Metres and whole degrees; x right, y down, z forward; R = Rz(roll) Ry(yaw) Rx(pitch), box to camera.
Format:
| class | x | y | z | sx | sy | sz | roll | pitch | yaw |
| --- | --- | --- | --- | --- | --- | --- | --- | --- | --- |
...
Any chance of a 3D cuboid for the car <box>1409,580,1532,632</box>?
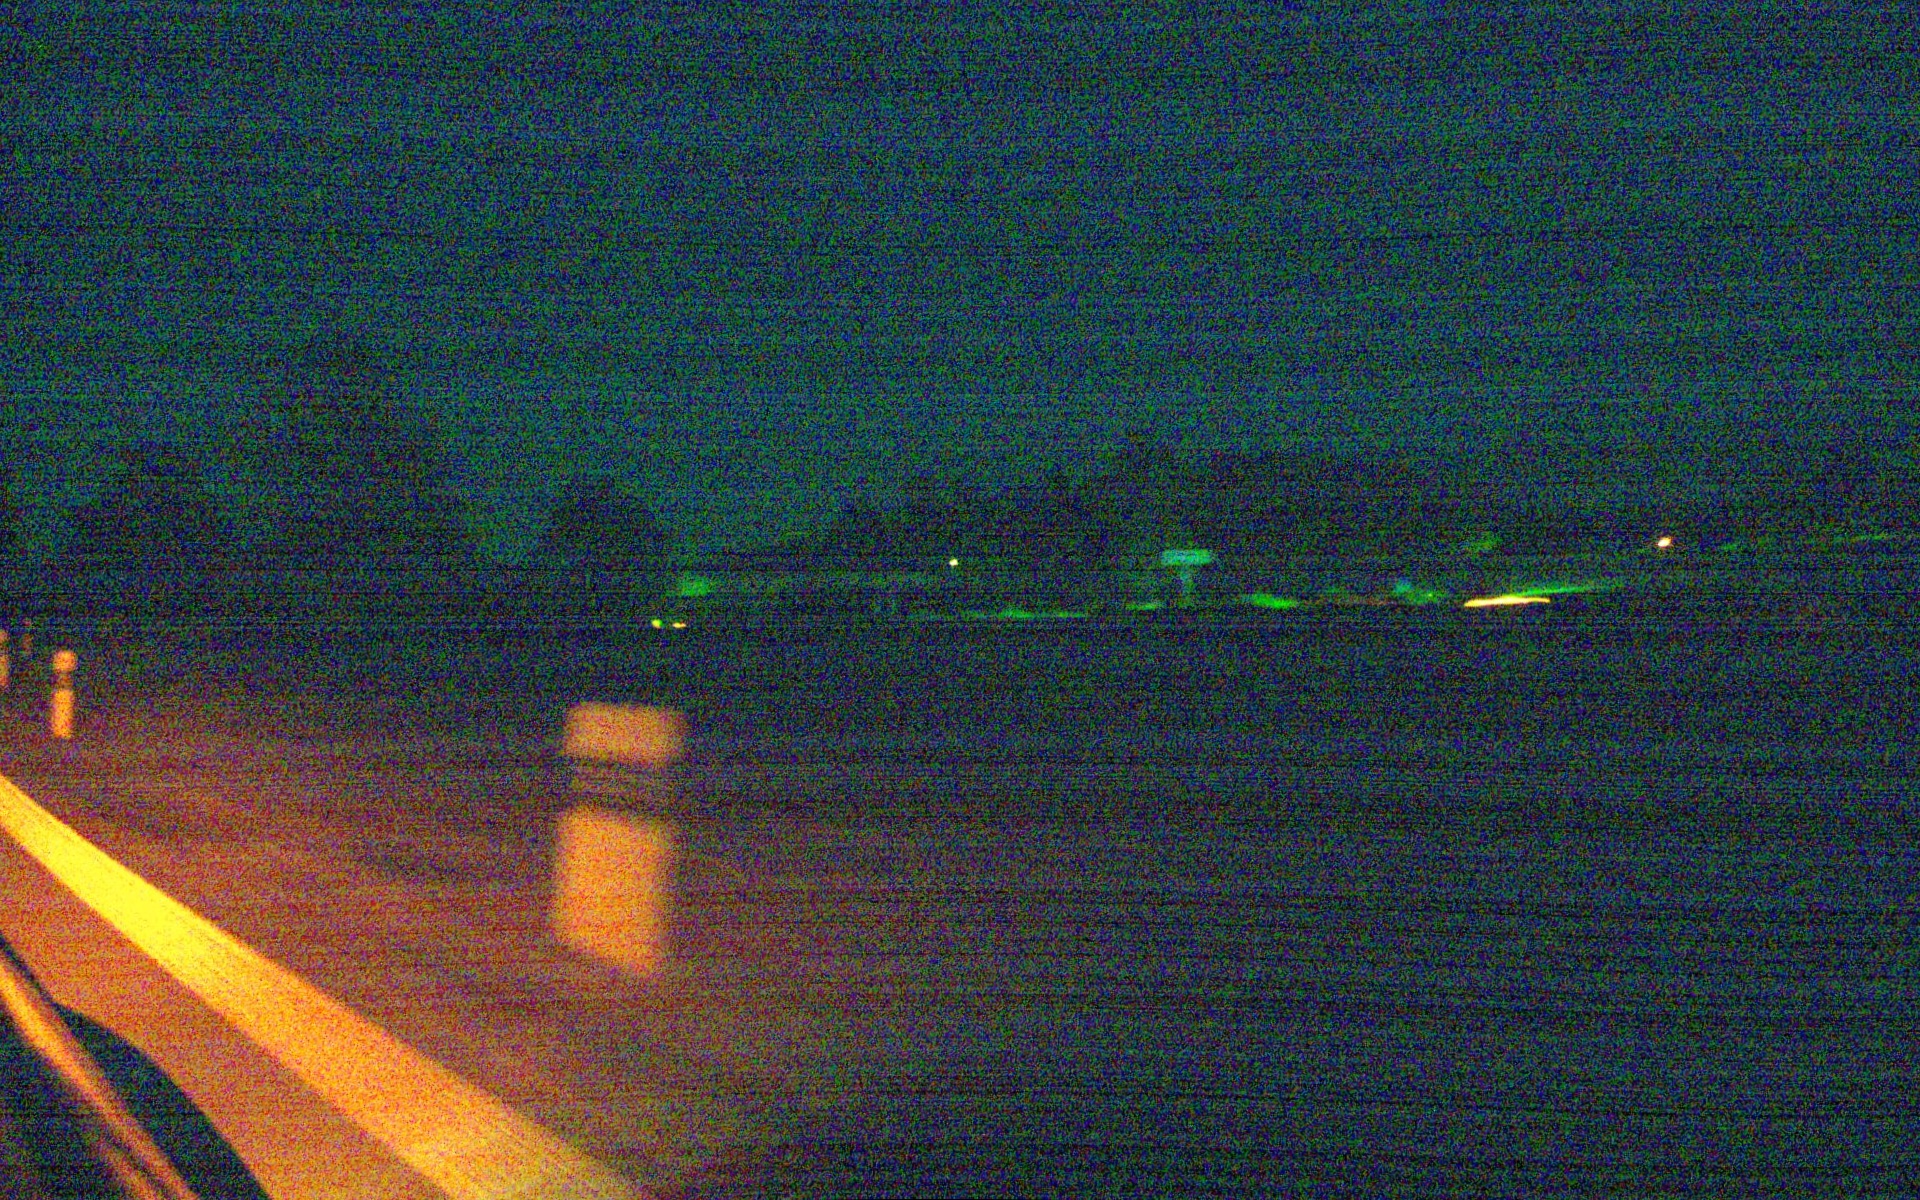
| class | x | y | z | sx | sy | sz | roll | pitch | yaw |
| --- | --- | --- | --- | --- | --- | --- | --- | --- | --- |
| car | 19.761 | 0.276 | 39.357 | 1.785 | 1.901 | 4.013 | -1 | -1 | -24 |

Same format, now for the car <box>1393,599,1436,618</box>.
| class | x | y | z | sx | sy | sz | roll | pitch | yaw |
| --- | --- | --- | --- | --- | --- | --- | --- | --- | --- |
| car | 46.102 | 0.855 | 102.693 | 3.931 | 1.798 | 1.883 | 2 | 1 | -28 |
